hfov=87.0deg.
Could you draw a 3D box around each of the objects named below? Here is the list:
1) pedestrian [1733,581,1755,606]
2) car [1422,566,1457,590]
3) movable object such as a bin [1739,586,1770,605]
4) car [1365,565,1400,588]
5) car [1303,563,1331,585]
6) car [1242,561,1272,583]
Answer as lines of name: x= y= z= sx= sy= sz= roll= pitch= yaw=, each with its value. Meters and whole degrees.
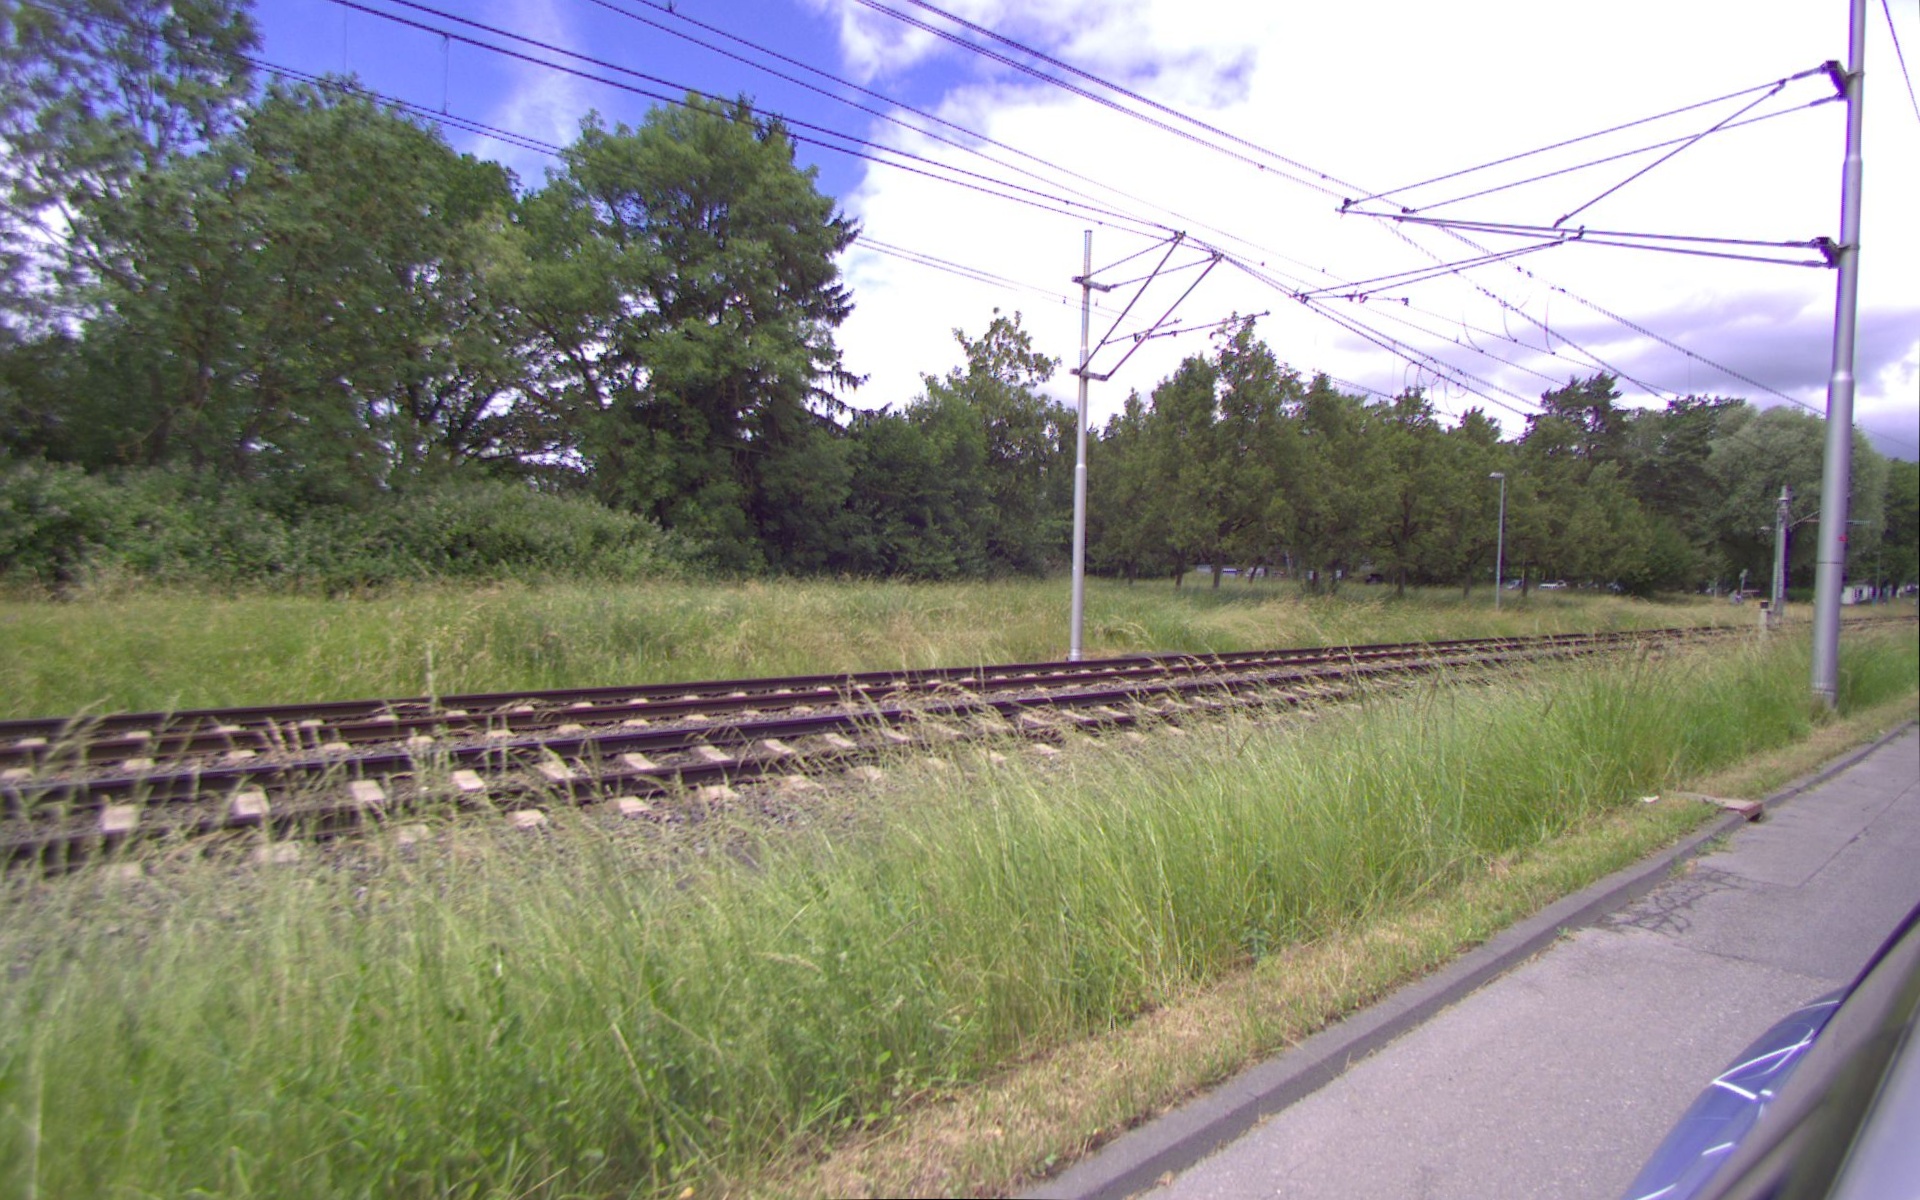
pedestrian: x=55.201 y=-0.478 z=71.283 sx=0.940 sy=1.687 sz=0.658 roll=1 pitch=2 yaw=1
car: x=38.147 y=-1.754 z=80.517 sx=1.740 sy=1.826 sz=3.946 roll=2 pitch=2 yaw=37
movable object such as a bin: x=55.737 y=-0.319 z=71.009 sx=1.612 sy=1.326 sz=0.660 roll=1 pitch=2 yaw=1
car: x=35.079 y=-1.962 z=84.049 sx=1.740 sy=1.826 sz=3.946 roll=2 pitch=2 yaw=37
car: x=30.950 y=-2.240 z=87.686 sx=1.979 sy=1.834 sz=3.967 roll=2 pitch=2 yaw=24
car: x=26.469 y=-2.462 z=90.028 sx=1.979 sy=1.834 sz=3.967 roll=2 pitch=2 yaw=24
